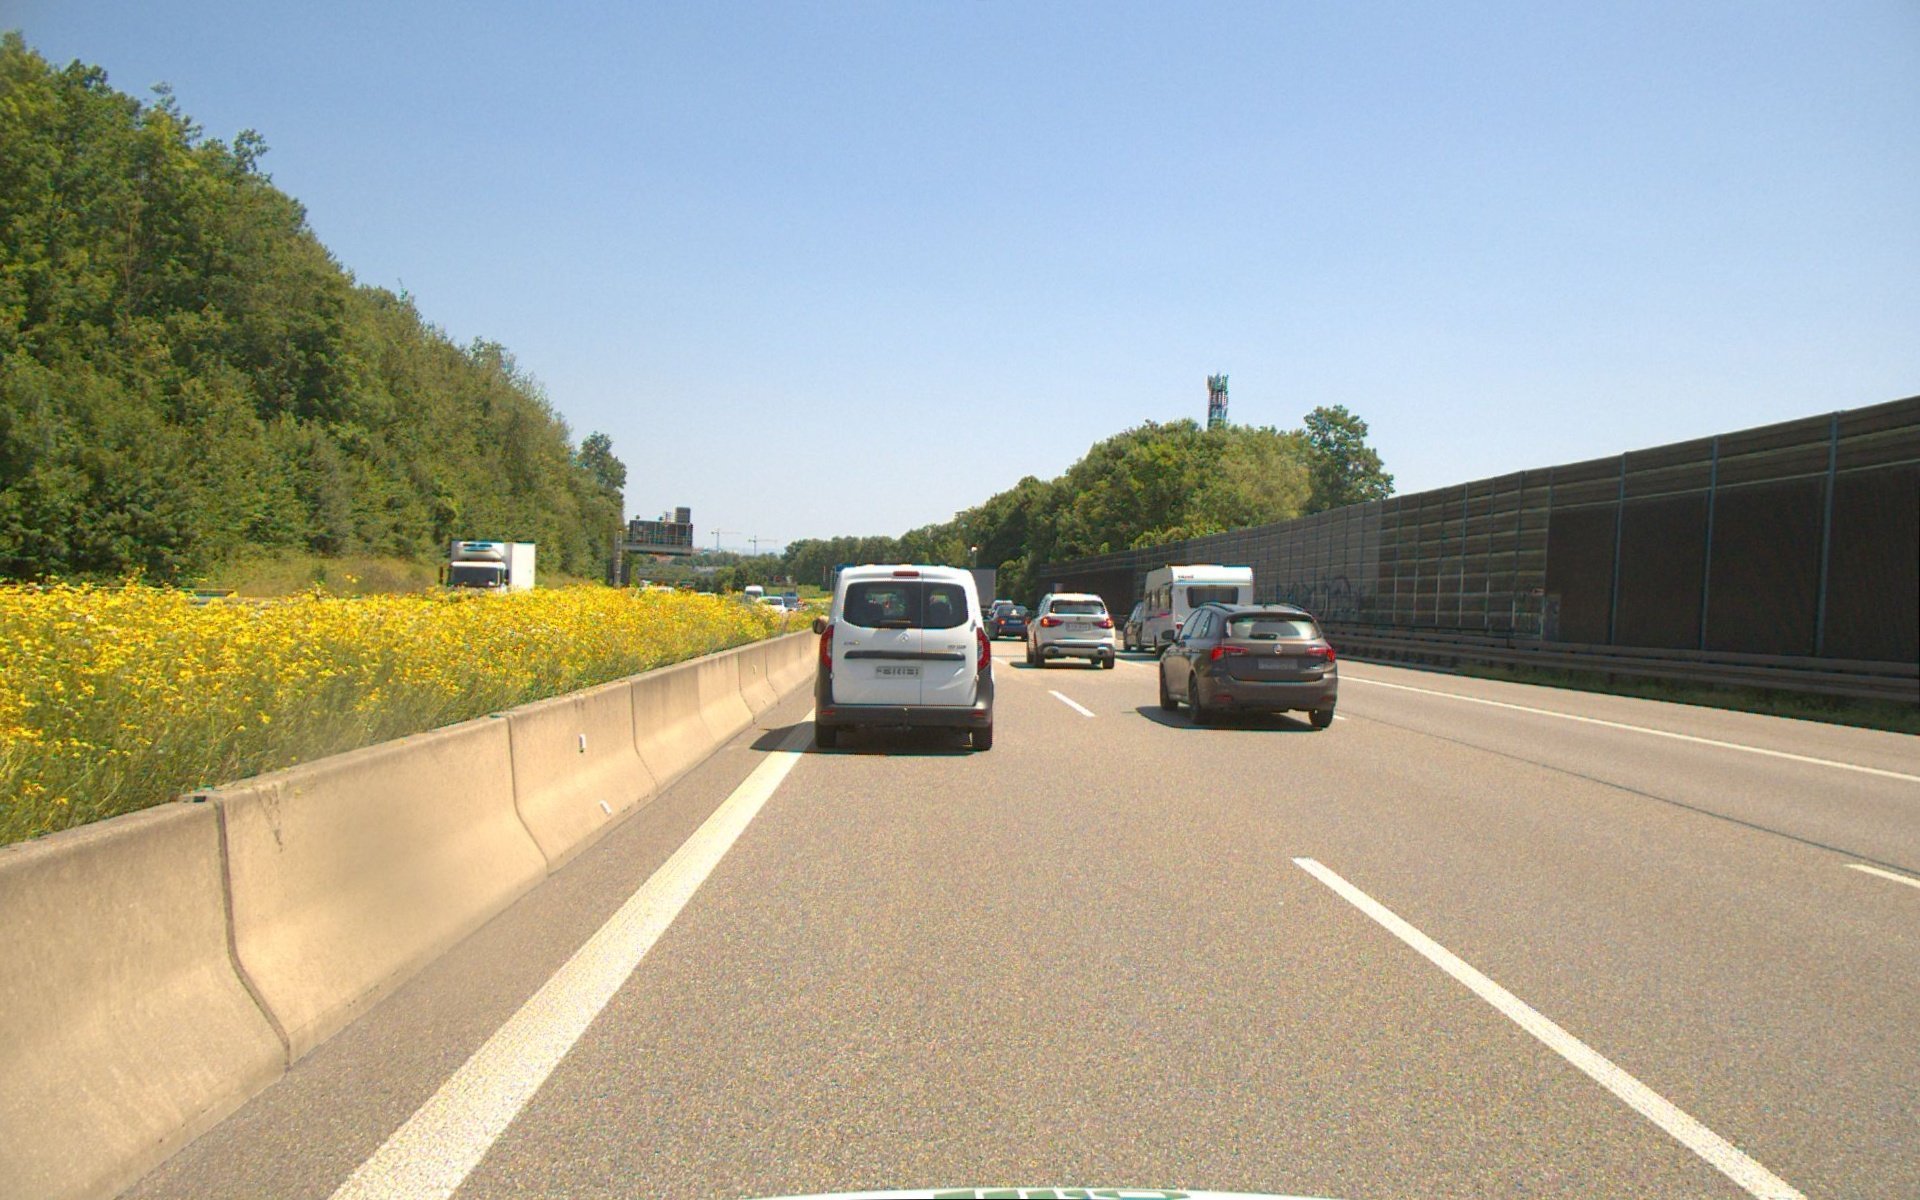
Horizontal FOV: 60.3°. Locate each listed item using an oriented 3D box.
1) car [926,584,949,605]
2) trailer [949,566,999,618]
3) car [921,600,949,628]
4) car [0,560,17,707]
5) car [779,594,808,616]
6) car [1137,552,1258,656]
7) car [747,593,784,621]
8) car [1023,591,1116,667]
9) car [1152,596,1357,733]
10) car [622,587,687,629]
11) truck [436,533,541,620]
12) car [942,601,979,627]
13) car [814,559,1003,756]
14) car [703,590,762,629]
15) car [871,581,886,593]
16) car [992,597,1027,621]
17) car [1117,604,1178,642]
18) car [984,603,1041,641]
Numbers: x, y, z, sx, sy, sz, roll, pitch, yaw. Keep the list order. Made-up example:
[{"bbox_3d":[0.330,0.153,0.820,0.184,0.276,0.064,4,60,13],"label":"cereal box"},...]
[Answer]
[{"bbox_3d":[-2.328,-0.540,170.153,1.955,2.049,3.996,1,0,-5],"label":"car"},{"bbox_3d":[1.073,-0.621,134.617,3.022,4.055,10.311,1,0,-5],"label":"trailer"},{"bbox_3d":[-1.860,1.008,123.549,1.788,2.024,3.996,1,0,-5],"label":"car"},{"bbox_3d":[-11.220,0.338,15.446,2.094,1.557,4.798,1,0,-1],"label":"car"},{"bbox_3d":[-11.068,0.317,110.268,1.697,1.430,4.608,0,0,-3],"label":"car"},{"bbox_3d":[6.819,0.120,48.187,2.429,2.814,6.217,1,0,-2],"label":"car"},{"bbox_3d":[-10.590,0.384,90.326,1.599,1.453,4.035,1,0,-1],"label":"car"},{"bbox_3d":[2.522,0.637,38.963,1.833,1.636,3.878,1,0,-1],"label":"car"},{"bbox_3d":[3.725,0.756,21.650,1.801,1.539,4.401,1,0,-1],"label":"car"},{"bbox_3d":[-13.039,0.325,70.920,1.953,1.731,4.529,1,0,-1],"label":"car"},{"bbox_3d":[-20.450,-0.977,72.191,2.680,3.535,7.311,1,0,-2],"label":"truck"},{"bbox_3d":[0.007,0.822,97.242,1.788,1.449,3.996,1,0,-5],"label":"car"},{"bbox_3d":[-0.522,0.547,17.621,1.766,1.839,3.999,1,0,-1],"label":"car"},{"bbox_3d":[-8.836,0.347,64.479,1.769,1.444,4.076,1,0,-1],"label":"car"},{"bbox_3d":[-12.347,-2.033,250.742,1.955,1.758,3.994,1,0,-7],"label":"car"},{"bbox_3d":[3.238,0.571,108.660,1.788,1.449,3.996,2,0,-5],"label":"car"},{"bbox_3d":[7.521,0.911,66.636,1.788,1.449,3.997,1,0,-3],"label":"car"},{"bbox_3d":[2.069,0.857,65.935,1.788,1.449,3.995,1,0,-5],"label":"car"}]
